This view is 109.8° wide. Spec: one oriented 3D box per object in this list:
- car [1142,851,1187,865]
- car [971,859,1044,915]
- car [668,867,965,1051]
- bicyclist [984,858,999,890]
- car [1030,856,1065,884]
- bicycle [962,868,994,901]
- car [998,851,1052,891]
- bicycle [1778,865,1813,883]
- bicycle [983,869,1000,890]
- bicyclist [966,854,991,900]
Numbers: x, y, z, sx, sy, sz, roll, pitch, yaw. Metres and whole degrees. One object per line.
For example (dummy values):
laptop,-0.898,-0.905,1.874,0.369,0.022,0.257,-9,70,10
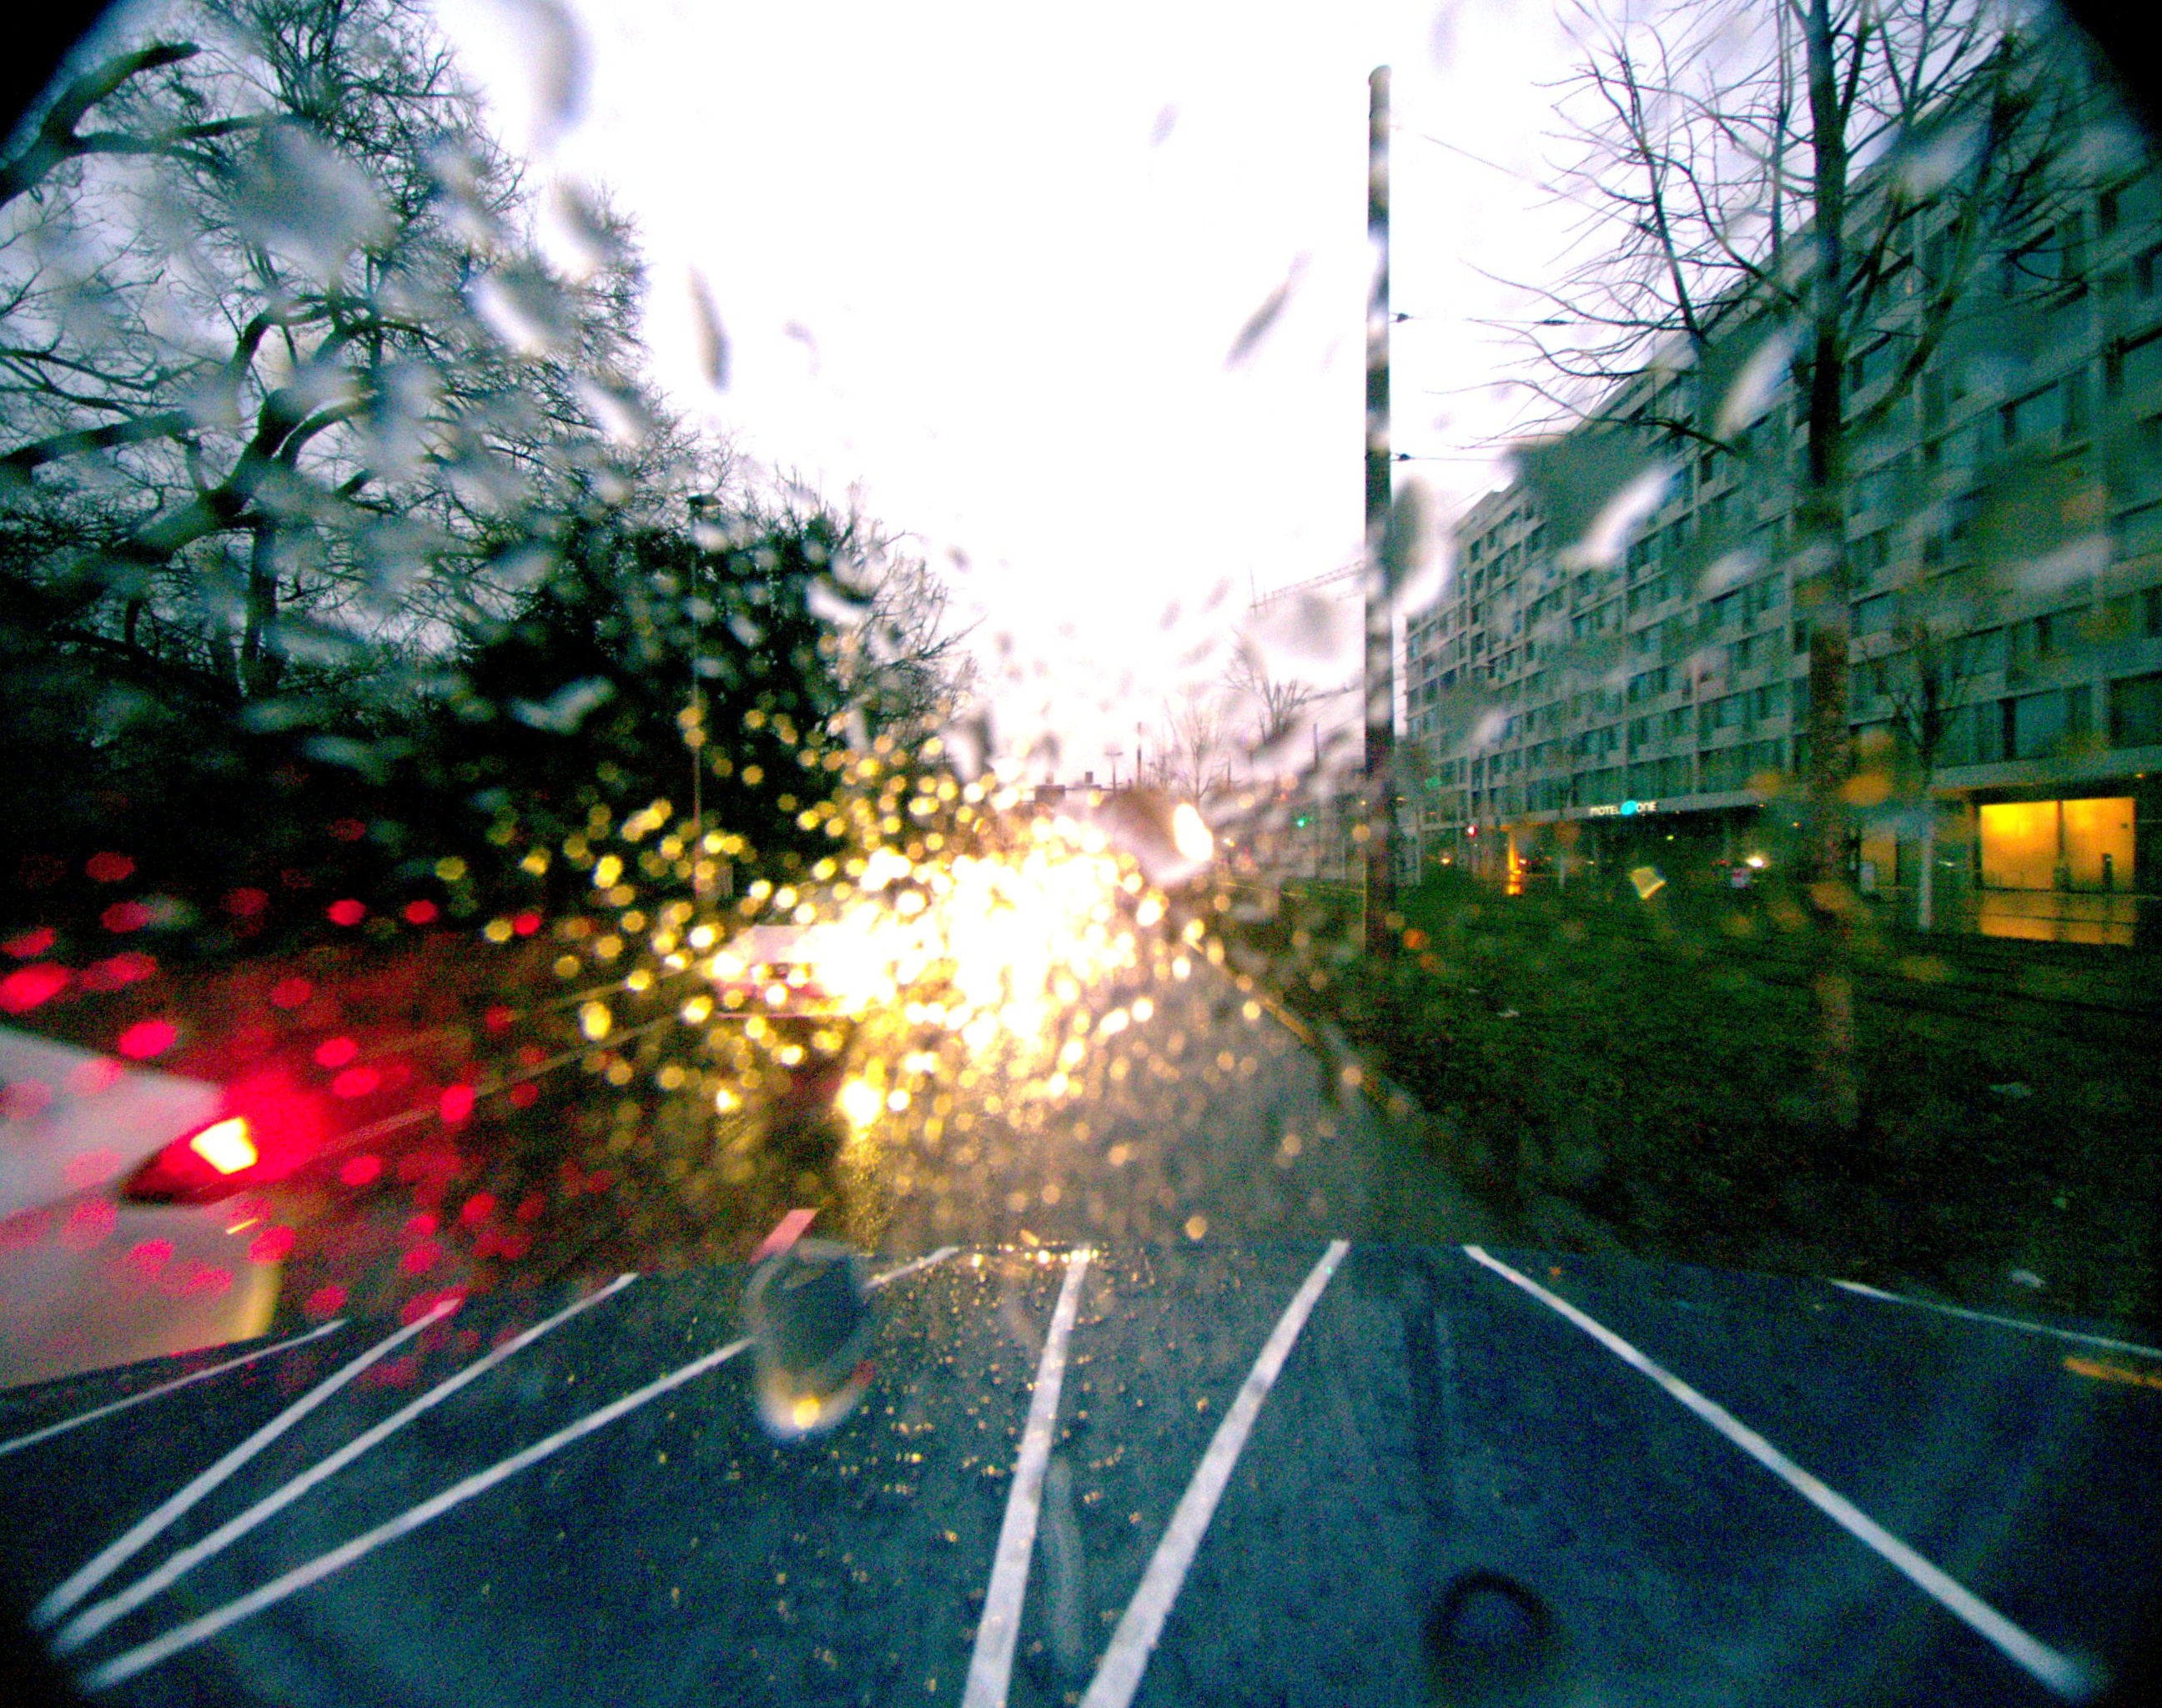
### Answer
car,9.904,0.464,90.149,5.032,1.659,2.091,0,0,18
car,-2.382,1.048,25.844,2.073,1.618,4.267,-2,0,-1
car,-2.650,0.963,8.775,1.886,1.552,4.171,0,0,1
bicyclist,-4.856,1.076,41.142,0.691,1.675,0.593,-2,1,1
car,-2.119,0.994,49.710,1.998,1.618,4.268,-2,0,1
bicycle,-5.107,1.506,37.999,0.967,1.442,3.390,-2,1,2
car,-2.546,0.741,35.501,2.073,1.618,4.268,-2,0,1
bicycle,36.319,1.012,38.634,1.349,0.849,0.465,-2,1,-1
bicycle,-4.838,1.385,41.191,0.691,1.036,1.721,-2,1,1
bicyclist,-5.128,1.137,38.051,0.967,2.210,0.935,-2,1,2
